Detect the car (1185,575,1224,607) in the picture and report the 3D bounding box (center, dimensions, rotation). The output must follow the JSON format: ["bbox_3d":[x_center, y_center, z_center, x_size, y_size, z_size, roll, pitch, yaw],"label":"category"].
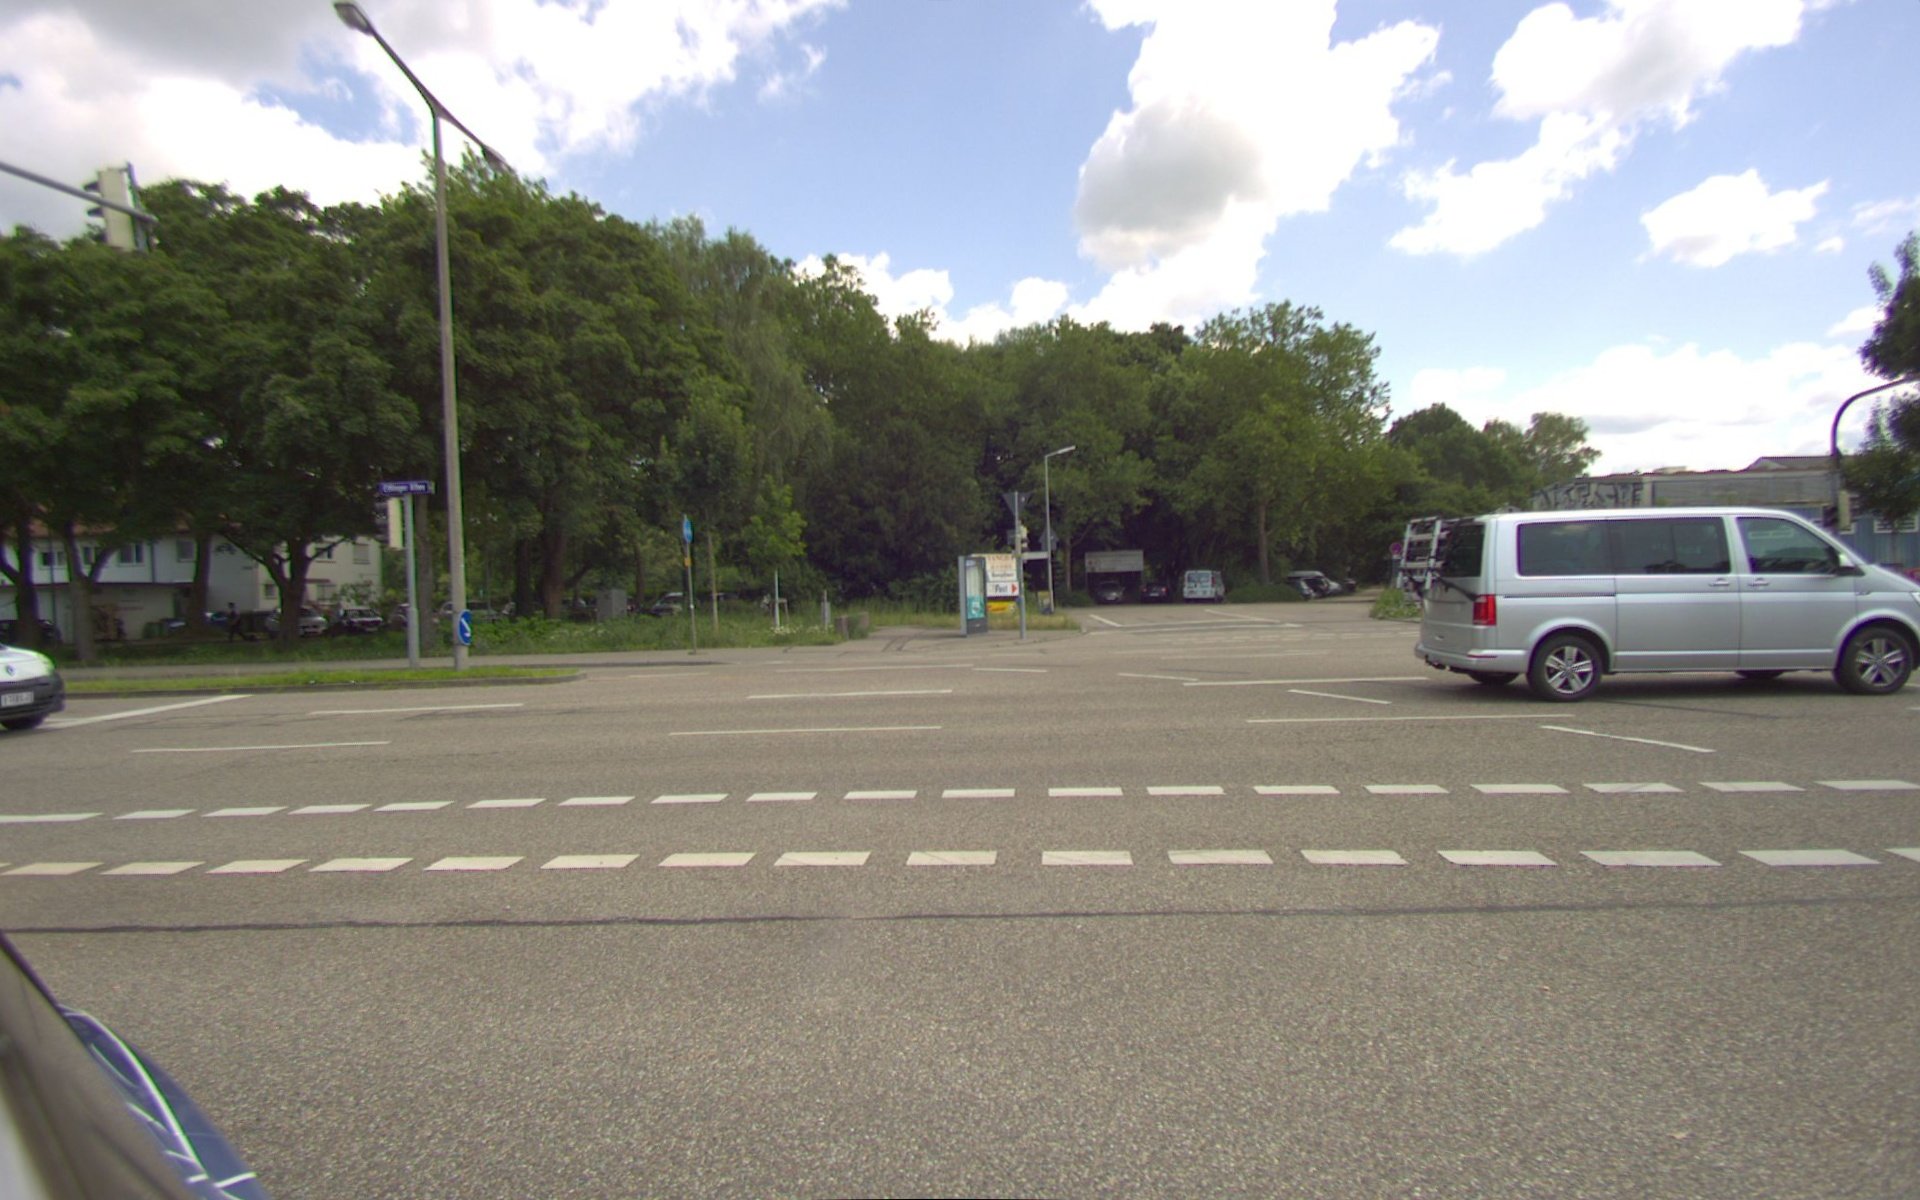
[{"bbox_3d":[14.929,-0.573,61.707,1.923,1.806,3.596,-1,1,20],"label":"car"}]

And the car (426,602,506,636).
[{"bbox_3d":[-24.266,0.949,49.655,4.019,1.557,1.974,-2,0,39],"label":"car"}]

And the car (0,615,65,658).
[{"bbox_3d":[-40.209,1.564,41.960,4.295,1.669,1.816,-2,1,-8],"label":"car"}]

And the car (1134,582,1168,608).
[{"bbox_3d":[11.798,-0.325,62.664,1.598,1.519,3.616,-2,1,3],"label":"car"}]

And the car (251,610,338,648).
[{"bbox_3d":[-28.748,1.241,43.685,4.019,1.495,1.974,-2,0,39],"label":"car"}]

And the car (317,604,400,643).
[{"bbox_3d":[-27.240,1.065,45.802,4.019,1.599,1.974,-2,0,39],"label":"car"}]

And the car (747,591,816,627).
[{"bbox_3d":[-9.358,0.448,53.451,2.056,1.738,4.109,-2,0,14],"label":"car"}]

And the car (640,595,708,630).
[{"bbox_3d":[-15.069,0.633,53.551,1.799,1.722,4.114,-2,0,11],"label":"car"}]

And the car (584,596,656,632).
[{"bbox_3d":[-17.862,0.727,53.408,1.799,1.740,4.114,-2,0,11],"label":"car"}]

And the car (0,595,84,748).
[{"bbox_3d":[-13.494,0.926,12.404,4.103,1.798,1.746,-2,1,5],"label":"car"}]

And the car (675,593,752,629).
[{"bbox_3d":[-12.825,0.540,53.052,2.026,1.738,4.557,-2,0,14],"label":"car"}]

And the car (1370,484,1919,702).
[{"bbox_3d":[7.370,-0.067,10.771,5.165,1.933,1.817,-2,0,4],"label":"car"}]

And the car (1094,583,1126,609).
[{"bbox_3d":[9.299,-0.278,62.826,1.598,1.519,3.616,-2,1,3],"label":"car"}]

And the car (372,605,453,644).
[{"bbox_3d":[-25.882,1.152,47.791,4.018,1.599,1.974,-4,-1,39],"label":"car"}]
